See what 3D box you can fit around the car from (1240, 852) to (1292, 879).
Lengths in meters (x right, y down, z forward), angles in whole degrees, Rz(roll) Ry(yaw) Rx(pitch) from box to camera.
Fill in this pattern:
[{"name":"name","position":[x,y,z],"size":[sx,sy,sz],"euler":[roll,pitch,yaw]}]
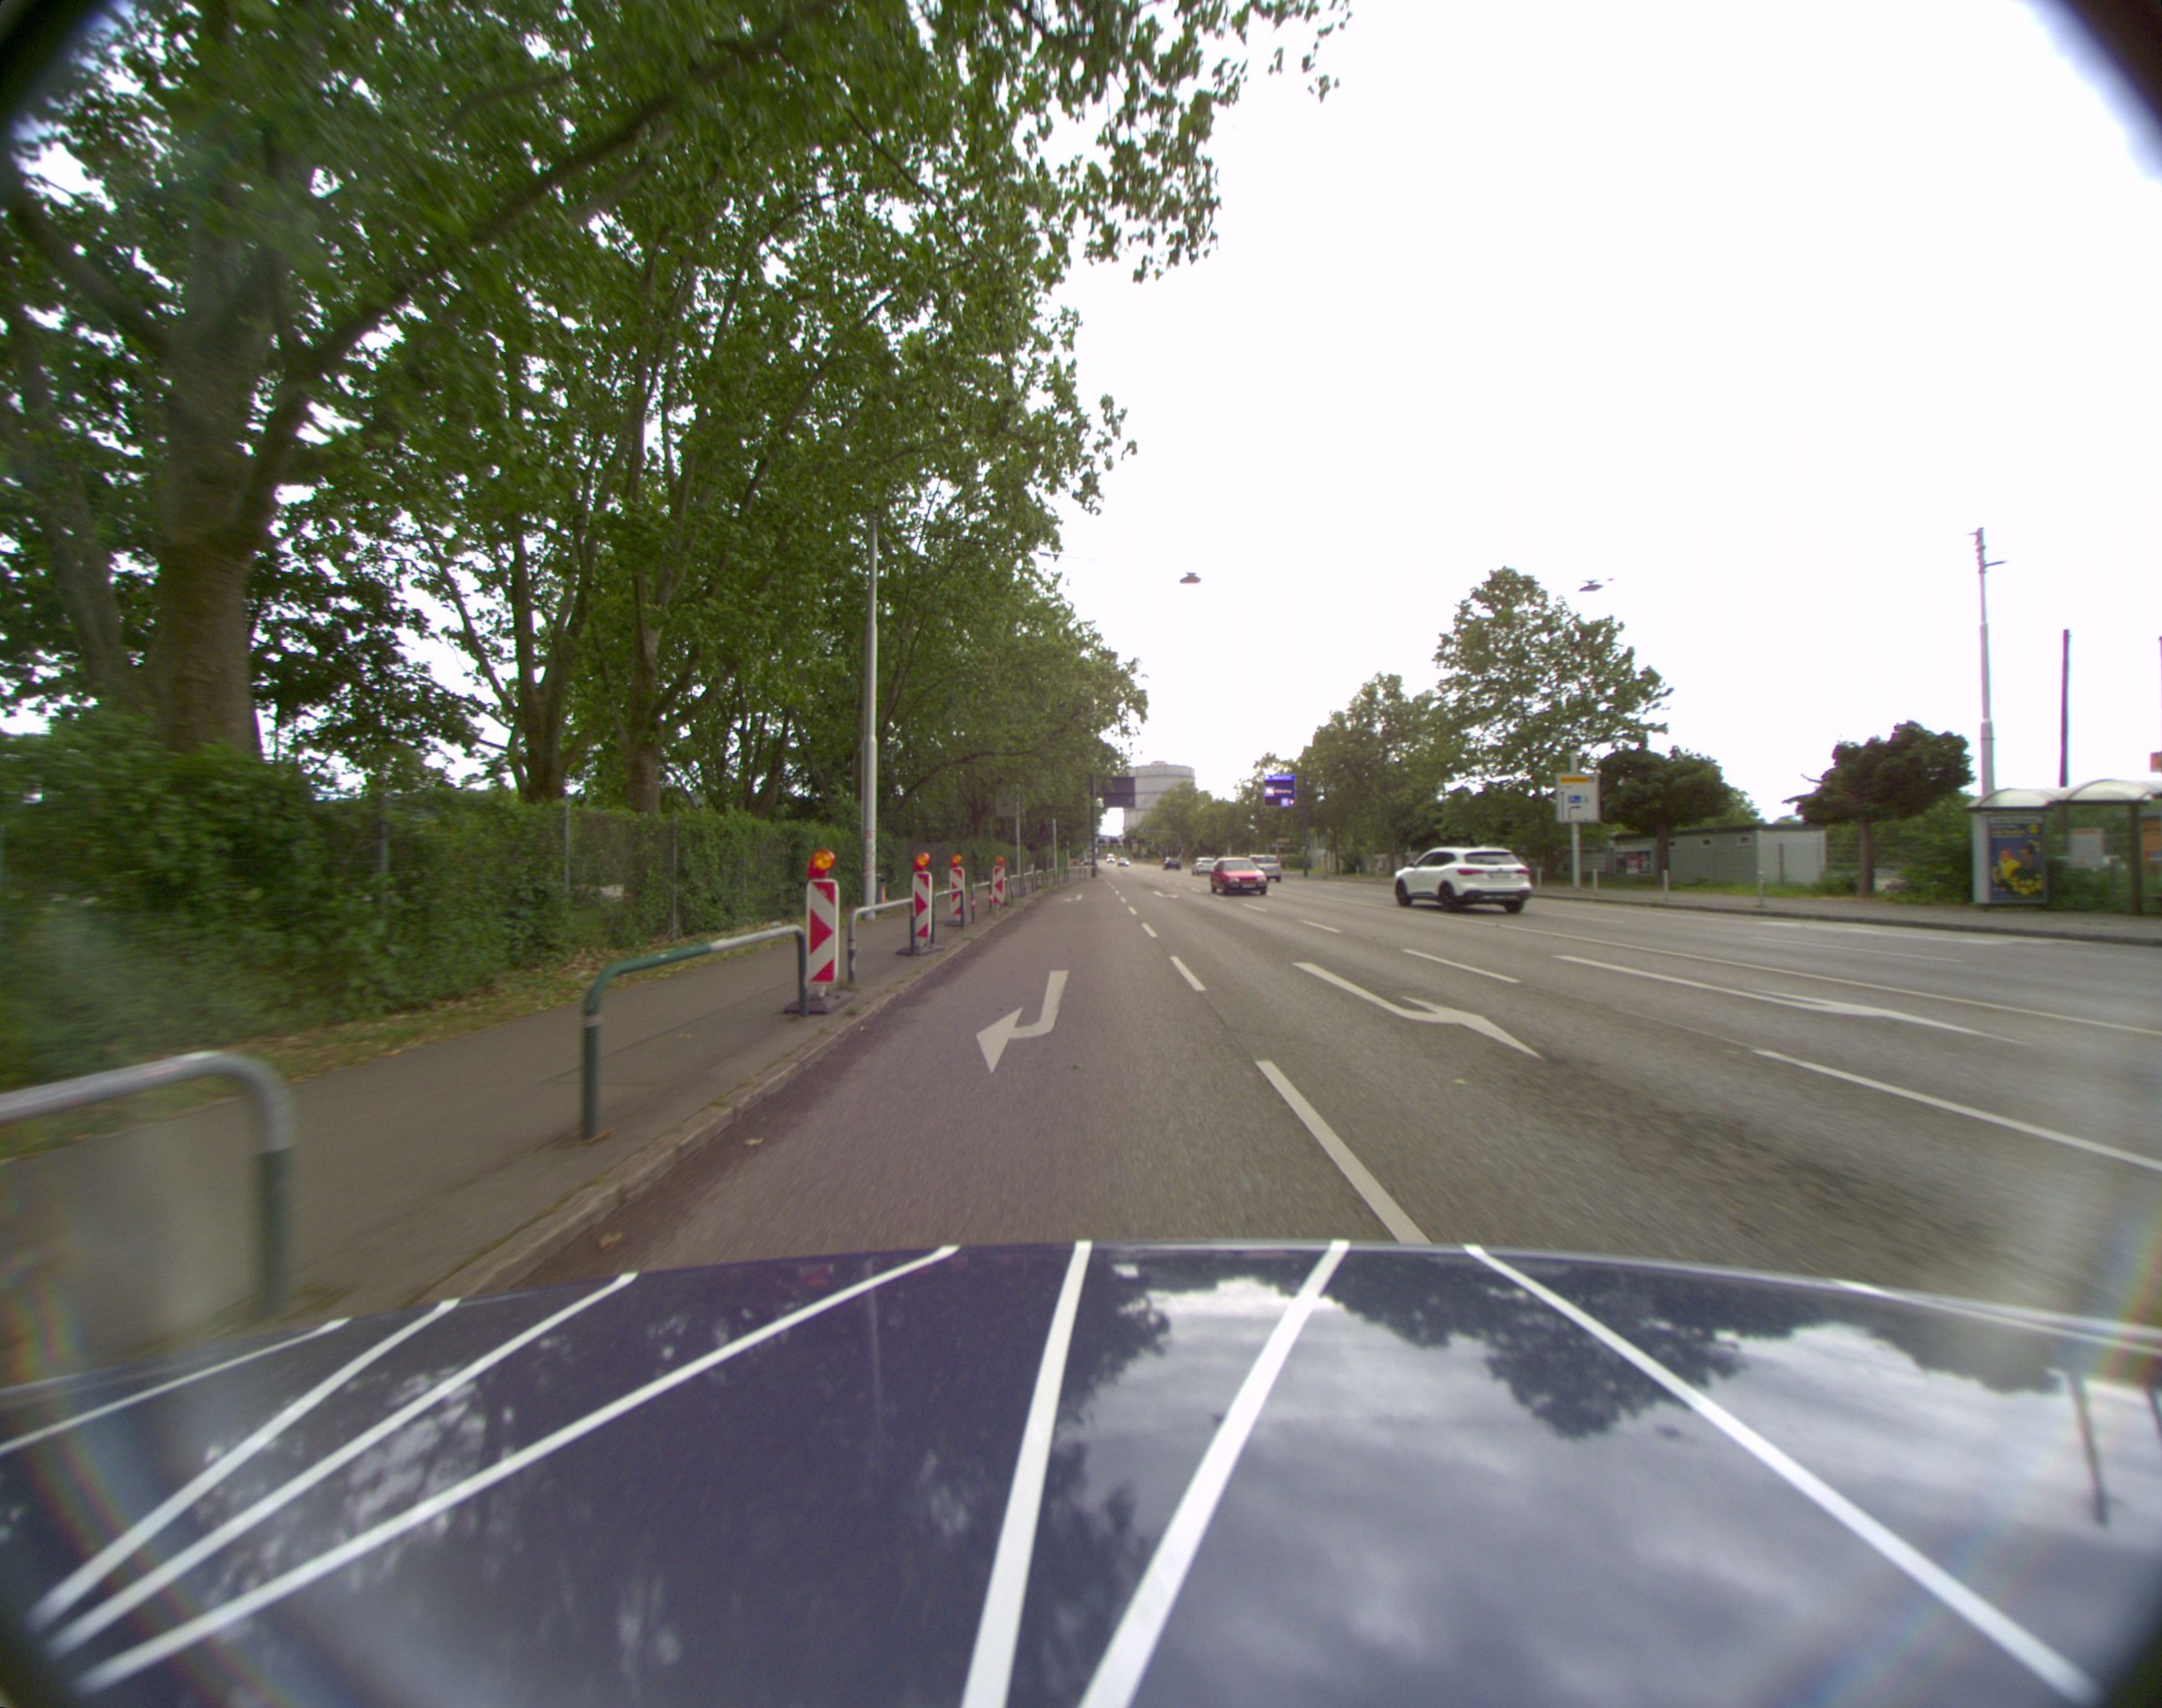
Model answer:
[{"name":"car","position":[10.661,0.638,44.032],"size":[1.999,1.516,3.999],"euler":[0,0,-1]}]

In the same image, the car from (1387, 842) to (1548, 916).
[{"name":"car","position":[10.091,0.566,20.311],"size":[1.998,1.734,4.594],"euler":[0,1,0]}]

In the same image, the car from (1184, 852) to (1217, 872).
[{"name":"car","position":[9.734,0.622,61.977],"size":[1.998,1.521,4.385],"euler":[0,0,0]}]

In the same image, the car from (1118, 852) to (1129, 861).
[{"name":"car","position":[7.334,0.473,132.013],"size":[1.799,1.501,4.000],"euler":[-1,0,1]}]

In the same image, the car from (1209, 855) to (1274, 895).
[{"name":"car","position":[6.277,0.777,30.094],"size":[1.833,1.443,4.077],"euler":[-2,0,2]}]

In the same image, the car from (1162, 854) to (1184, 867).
[{"name":"car","position":[10.959,0.735,90.638],"size":[1.999,1.521,4.725],"euler":[0,0,-1]}]

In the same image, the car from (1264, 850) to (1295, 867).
[{"name":"car","position":[23.852,0.487,91.489],"size":[2.393,2.002,4.634],"euler":[0,0,-3]}]
